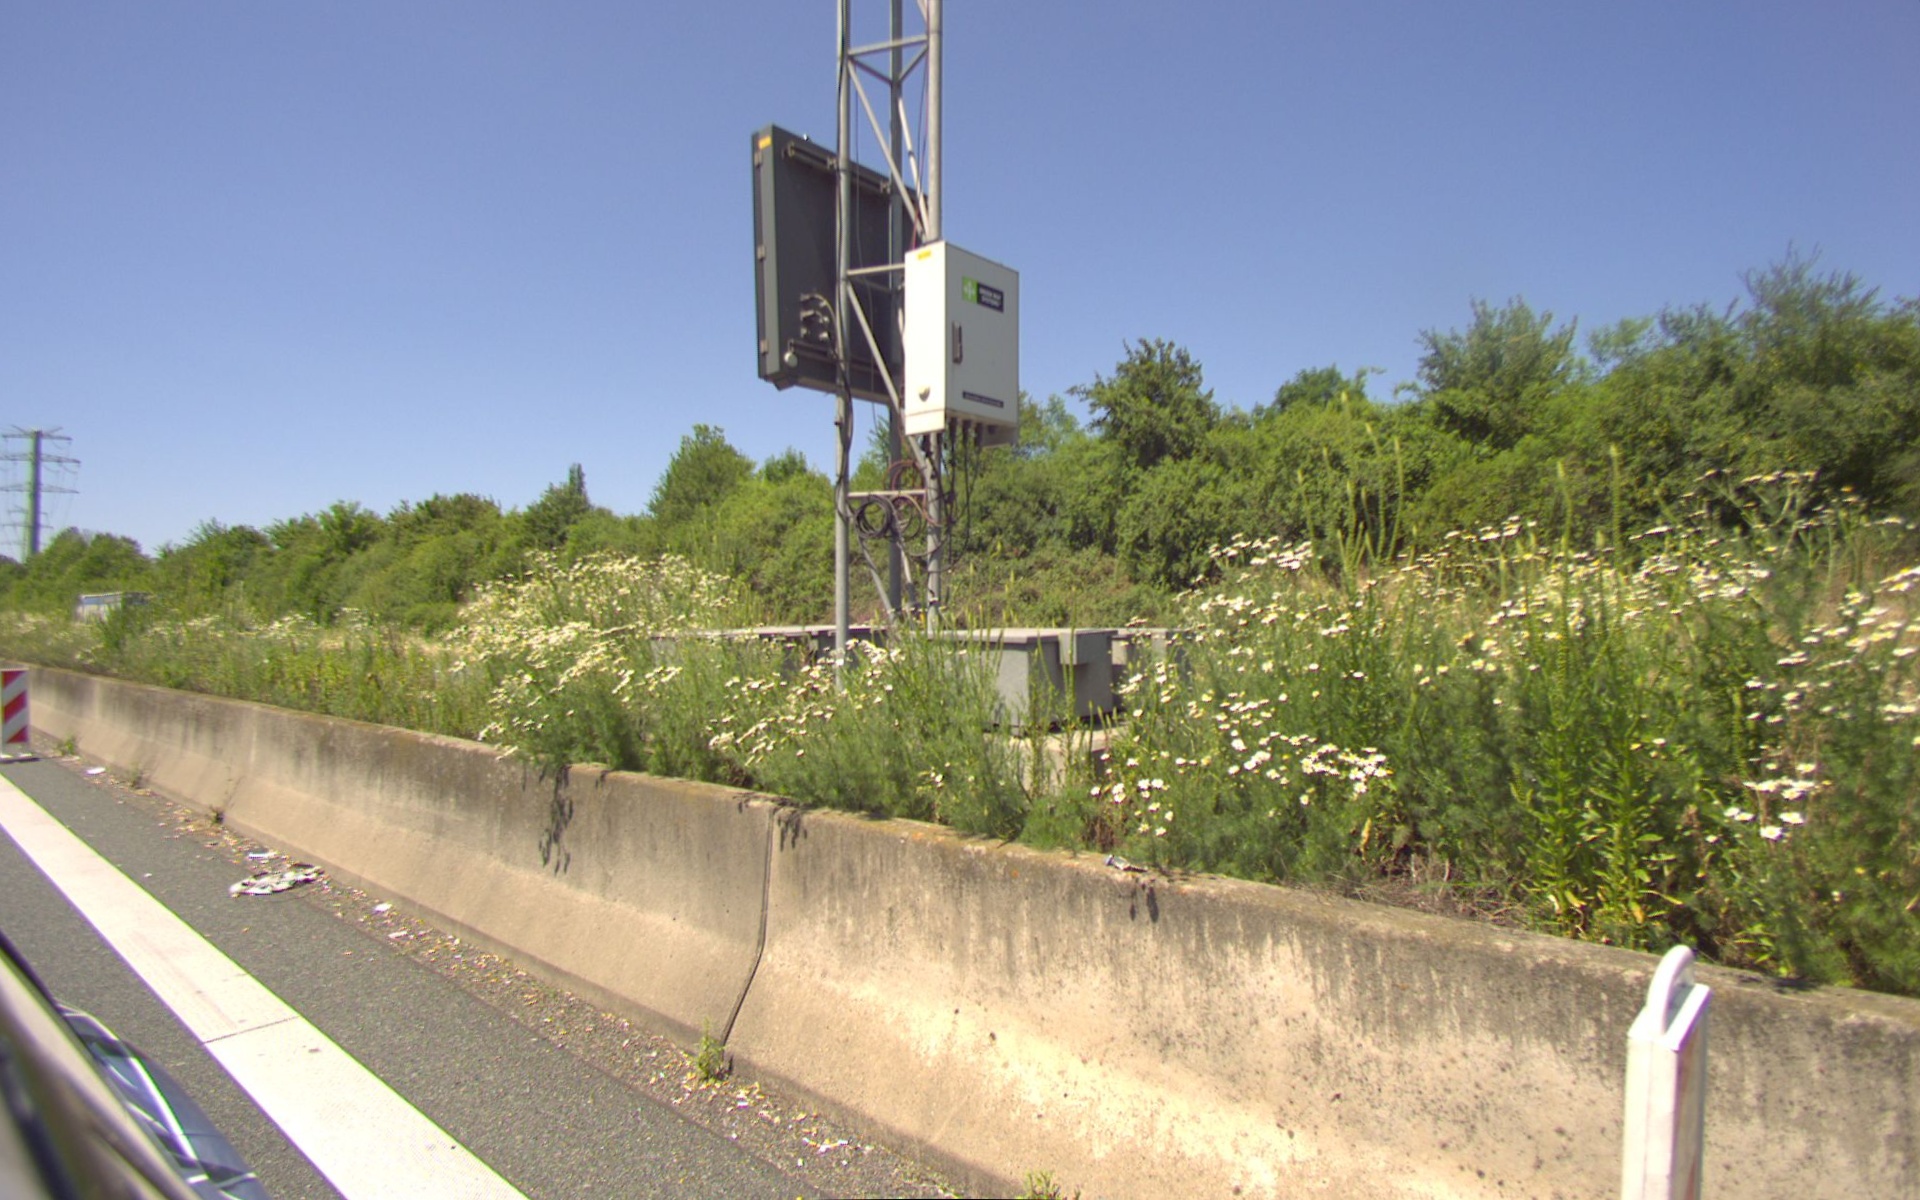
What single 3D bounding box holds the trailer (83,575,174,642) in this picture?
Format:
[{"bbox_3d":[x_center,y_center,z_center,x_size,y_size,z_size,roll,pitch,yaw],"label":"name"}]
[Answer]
[{"bbox_3d":[-58.925,0.612,71.534,12.900,4.437,2.929,-1,0,41],"label":"trailer"}]
